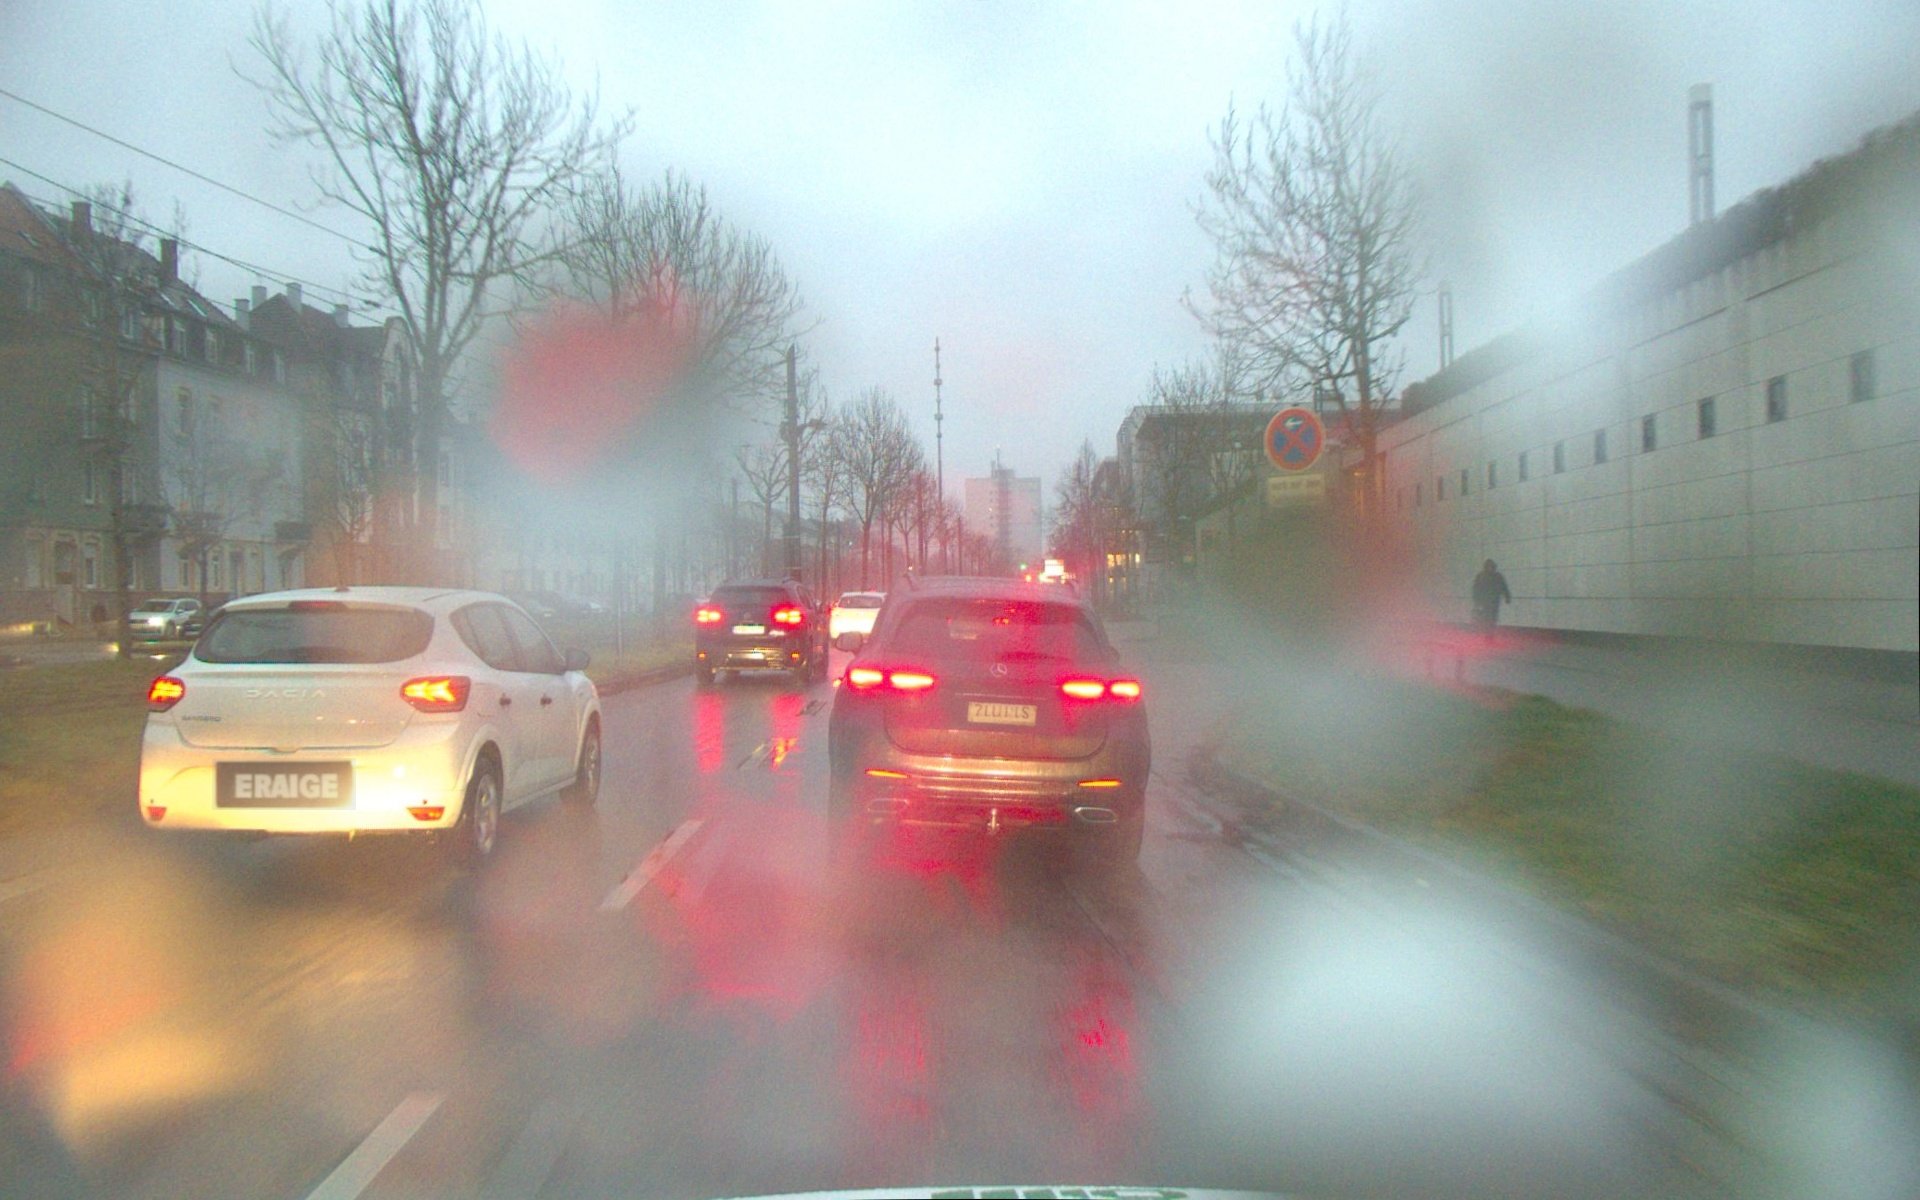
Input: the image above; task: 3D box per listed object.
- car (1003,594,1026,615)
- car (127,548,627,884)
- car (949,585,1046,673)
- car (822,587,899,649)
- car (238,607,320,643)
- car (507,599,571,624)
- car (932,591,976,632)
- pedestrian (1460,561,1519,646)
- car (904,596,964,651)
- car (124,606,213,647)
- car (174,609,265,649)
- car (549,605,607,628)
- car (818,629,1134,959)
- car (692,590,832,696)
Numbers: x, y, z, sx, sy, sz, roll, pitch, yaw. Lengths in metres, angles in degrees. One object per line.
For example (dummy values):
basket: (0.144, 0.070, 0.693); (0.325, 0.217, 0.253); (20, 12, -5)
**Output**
car: (4.700, 0.358, 142.028); (1.952, 1.759, 4.001); (-1, 0, 2)
car: (-3.236, 0.564, 10.066); (1.638, 1.628, 4.053); (0, 0, -1)
car: (0.867, 0.595, 36.117); (1.952, 1.774, 4.002); (-1, 0, 3)
car: (-2.688, 0.479, 45.379); (1.637, 1.628, 4.055); (0, 0, 3)
car: (-27.780, 1.001, 67.574); (1.739, 1.378, 3.558); (-1, 0, 2)
car: (-24.337, 0.674, 95.514); (3.486, 1.378, 1.775); (-1, 0, 37)
car: (-0.276, 0.592, 85.406); (1.952, 2.049, 4.002); (1, -1, 4)
pedestrian: (10.539, 0.071, 32.930); (0.918, 1.646, 0.695); (-1, 0, 0)
car: (-0.991, 0.905, 64.609); (1.951, 2.049, 4.002); (1, -1, 4)
car: (-31.829, 1.040, 66.571); (1.739, 1.526, 3.558); (-1, 0, 2)
car: (-28.012, 1.064, 62.693); (1.739, 1.378, 3.558); (-1, 0, 2)
car: (-24.350, 1.080, 105.353); (3.486, 1.378, 1.775); (-1, 0, 37)
car: (0.192, 1.033, 10.583); (1.637, 1.628, 4.055); (0, 0, 3)
car: (-3.207, 0.666, 27.497); (1.637, 1.628, 4.055); (0, 0, 3)
